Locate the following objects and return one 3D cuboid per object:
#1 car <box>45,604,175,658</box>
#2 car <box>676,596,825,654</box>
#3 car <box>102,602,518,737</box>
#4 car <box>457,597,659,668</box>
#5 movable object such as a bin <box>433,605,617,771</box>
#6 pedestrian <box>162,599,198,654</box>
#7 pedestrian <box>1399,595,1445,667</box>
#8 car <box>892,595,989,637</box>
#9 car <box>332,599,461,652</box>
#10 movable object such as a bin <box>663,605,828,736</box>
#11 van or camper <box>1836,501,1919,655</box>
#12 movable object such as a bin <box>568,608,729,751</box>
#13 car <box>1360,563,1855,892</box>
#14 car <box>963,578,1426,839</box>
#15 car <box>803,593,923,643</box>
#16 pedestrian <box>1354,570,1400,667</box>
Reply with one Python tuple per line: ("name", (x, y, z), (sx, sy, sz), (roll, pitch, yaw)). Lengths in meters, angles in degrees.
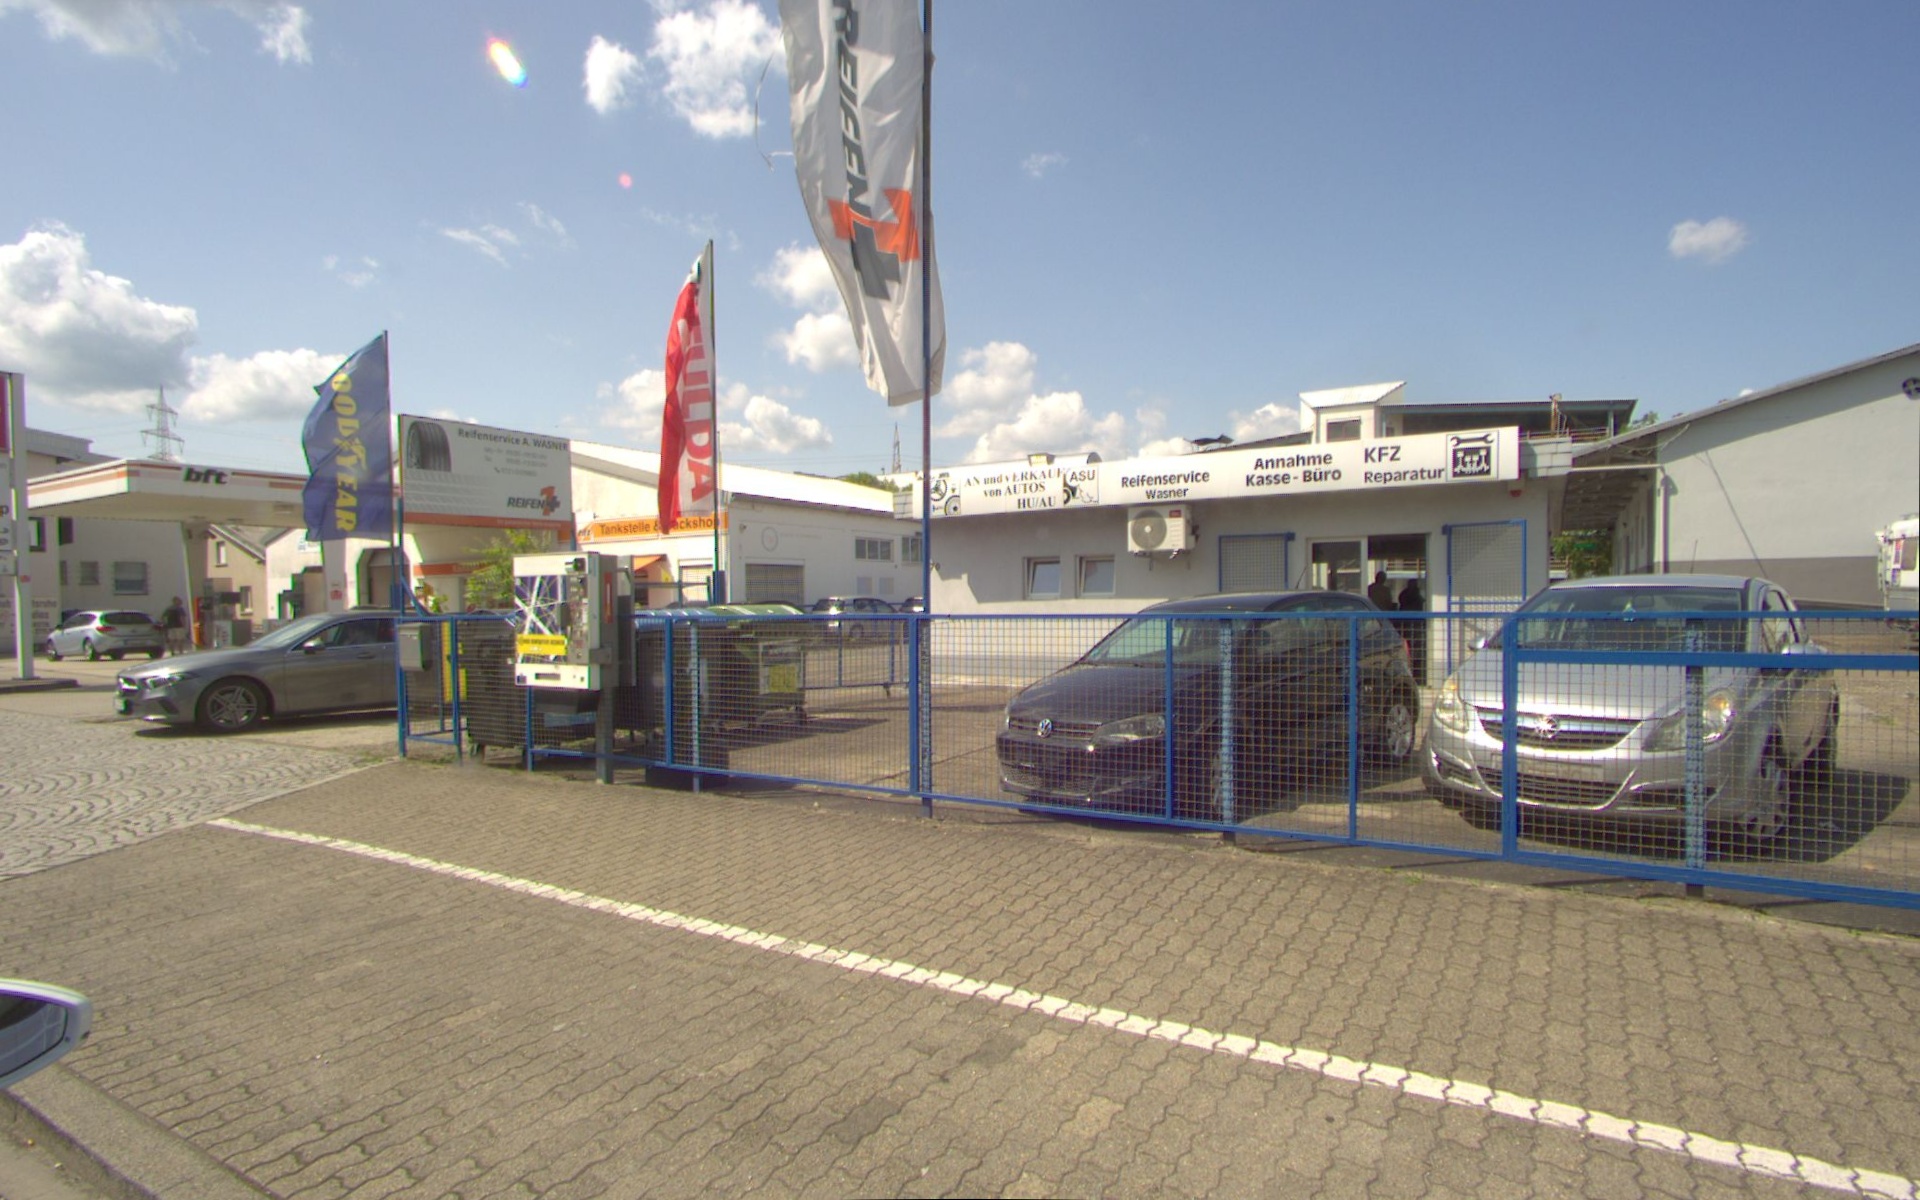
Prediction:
("car", (-25.736, 0.898, 30.311), (3.776, 1.523, 1.803), (0, 0, 30))
("car", (-5.717, 0.639, 27.824), (1.564, 1.482, 4.187), (0, 0, 33))
("car", (-8.248, 0.765, 13.058), (1.654, 1.434, 4.253), (0, 0, 39))
("car", (-9.164, 0.686, 23.168), (1.564, 1.482, 4.187), (0, 0, 33))
("movable object such as a bin", (-4.158, 0.784, 9.612), (1.225, 1.455, 1.106), (0, 1, 31))
("pedestrian", (-23.775, 0.798, 30.521), (0.698, 1.679, 0.546), (-1, 1, -22))
("pedestrian", (8.047, 0.531, 17.443), (0.654, 1.225, 0.563), (0, 1, 34))
("car", (-0.638, 0.531, 35.740), (1.564, 1.385, 3.860), (0, 0, 33))
("car", (-17.308, 0.745, 30.728), (3.777, 1.523, 1.803), (-1, 0, 31))
("movable object such as a bin", (-2.532, 0.781, 11.907), (1.318, 1.414, 1.400), (0, 1, 31))
("van or camper", (21.016, -0.456, 19.533), (5.571, 3.005, 2.264), (0, 1, 31))
("movable object such as a bin", (-3.326, 0.801, 10.742), (1.225, 1.415, 1.106), (0, 1, 31))
("car", (4.273, 0.559, 6.385), (3.729, 1.472, 1.757), (-1, 0, -42))
("car", (1.905, 0.600, 7.481), (3.655, 1.472, 1.625), (-1, 0, -43))
("car", (-3.014, 0.524, 32.055), (1.564, 1.482, 4.187), (0, 0, 33))
("pedestrian", (7.353, 0.317, 17.650), (0.654, 1.671, 0.563), (0, 1, 34))
